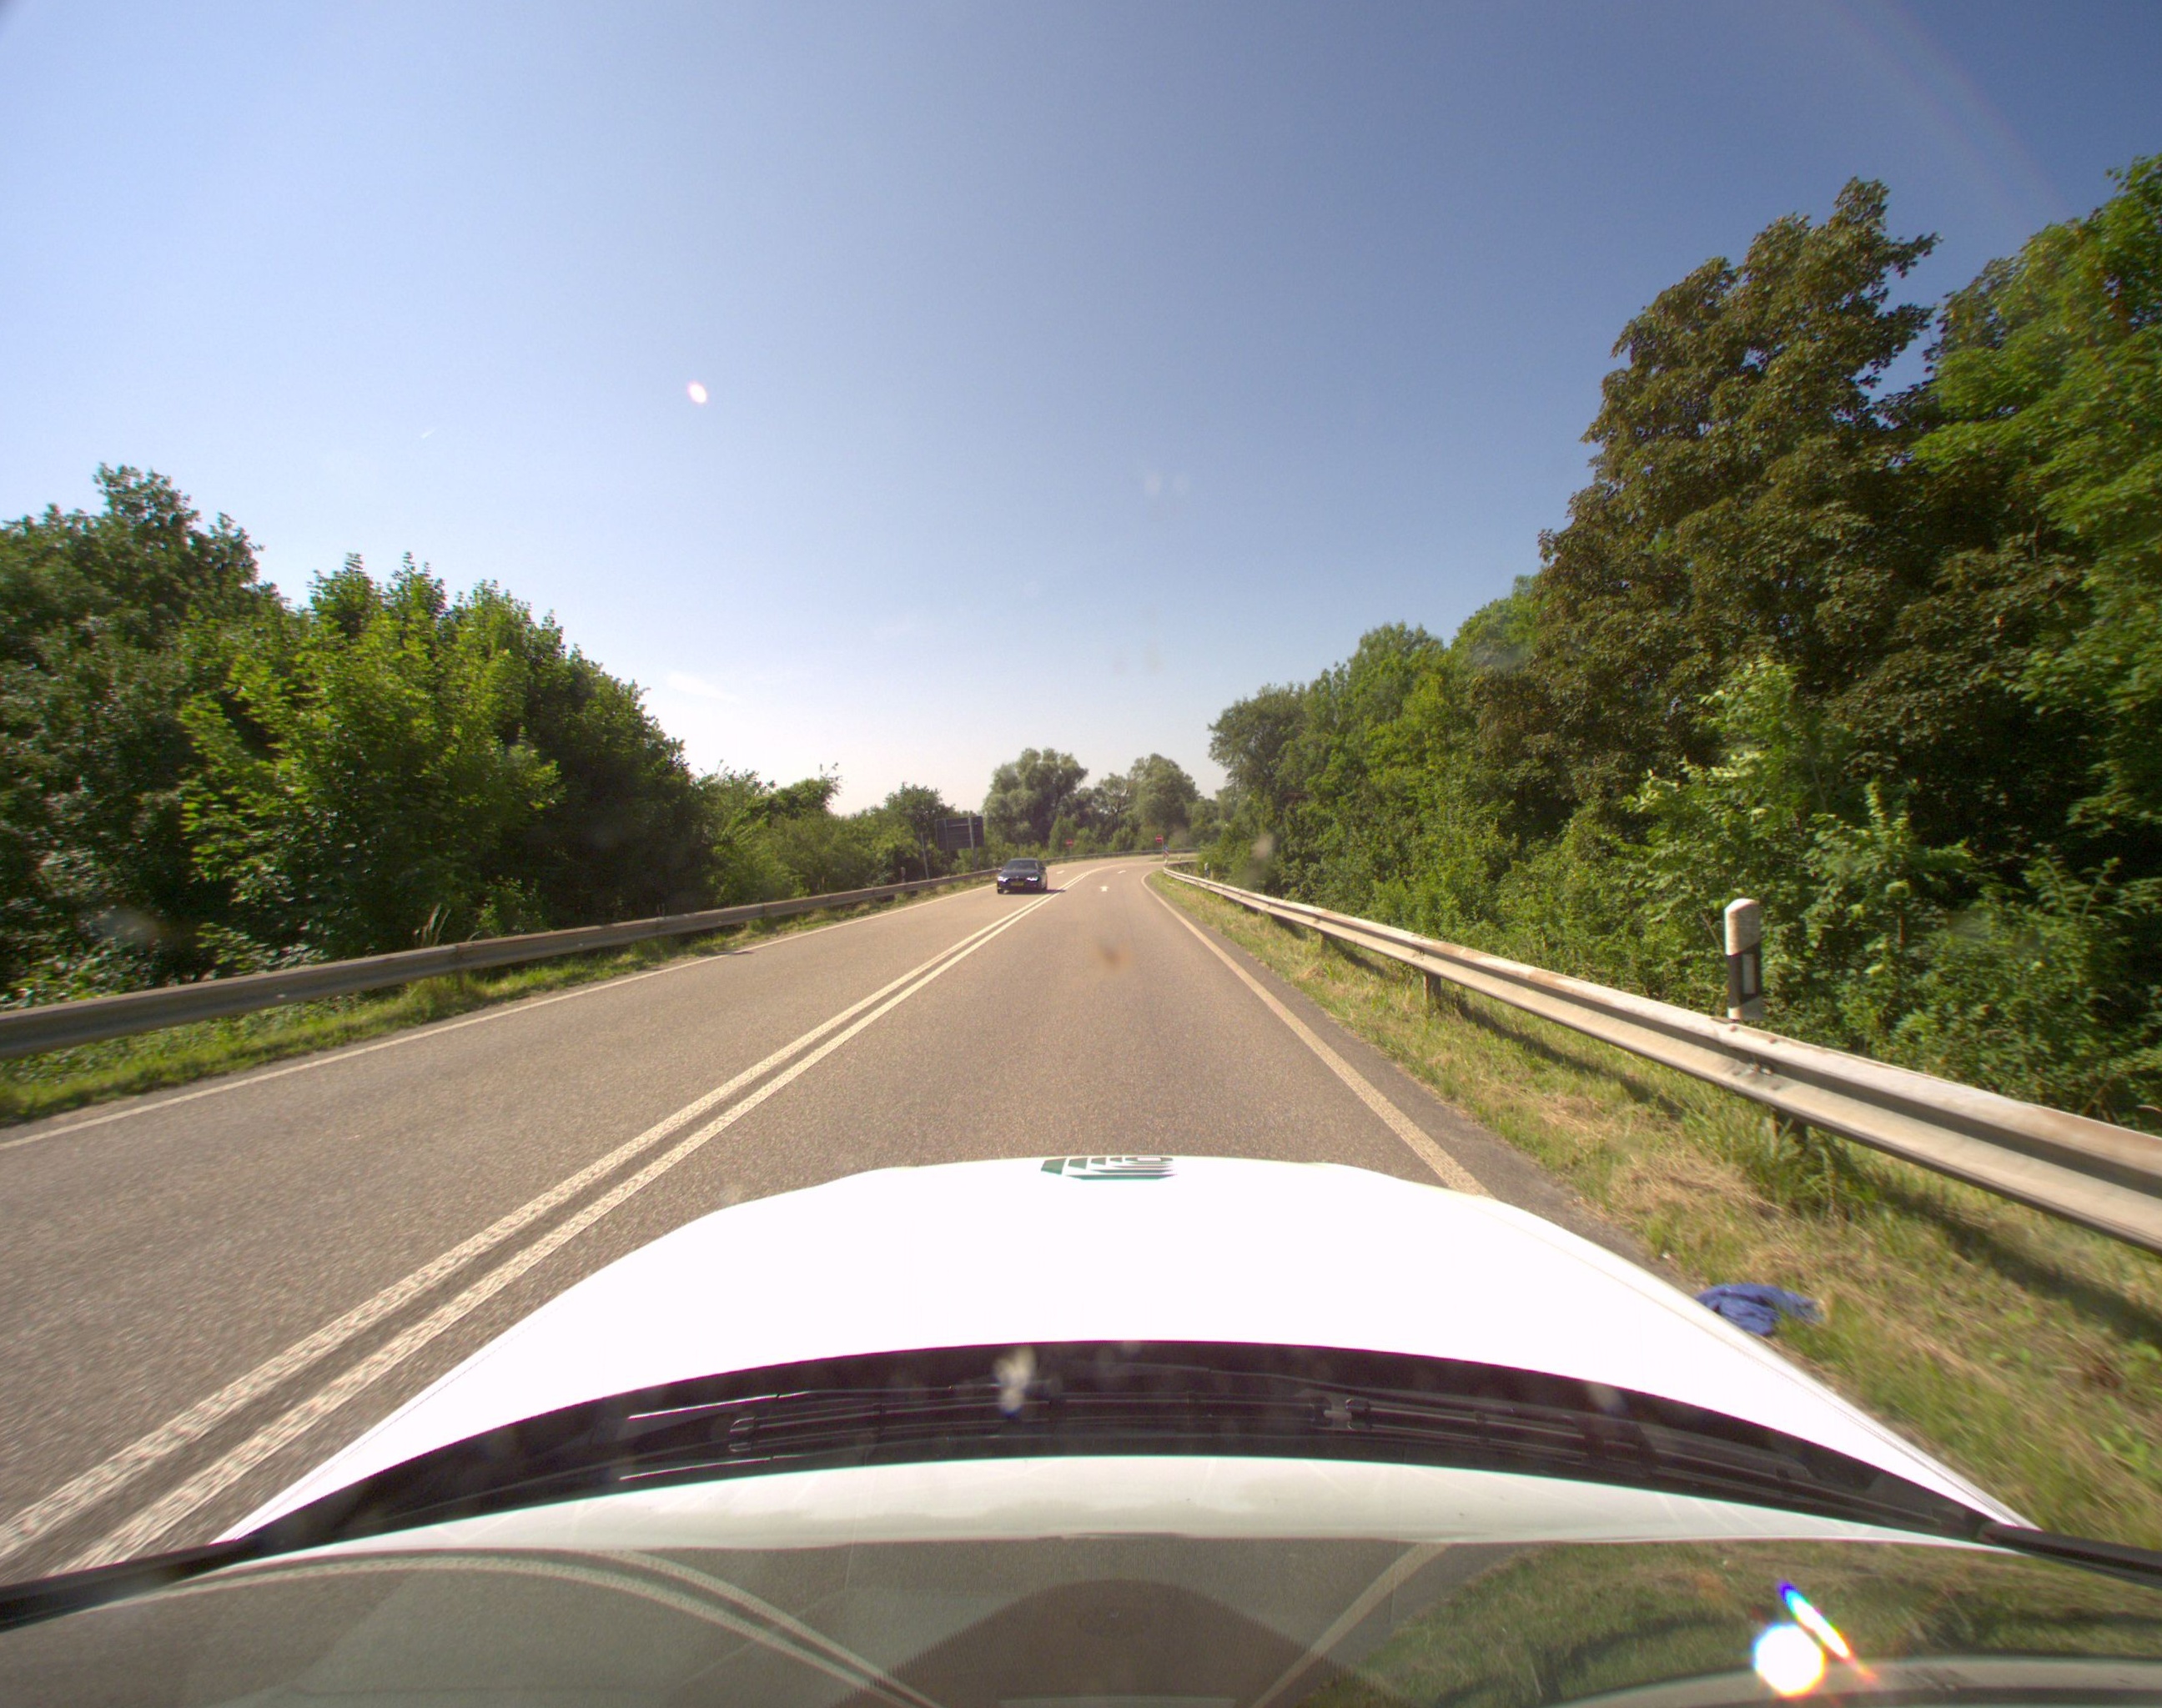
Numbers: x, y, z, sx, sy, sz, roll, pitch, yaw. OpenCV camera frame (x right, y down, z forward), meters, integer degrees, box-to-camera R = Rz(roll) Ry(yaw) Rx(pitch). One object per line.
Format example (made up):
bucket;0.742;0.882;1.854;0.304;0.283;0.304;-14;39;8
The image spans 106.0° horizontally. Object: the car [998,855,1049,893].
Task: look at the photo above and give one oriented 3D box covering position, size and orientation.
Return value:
car;-2.384;0.788;34.677;1.601;1.473;4.223;-2;0;3
